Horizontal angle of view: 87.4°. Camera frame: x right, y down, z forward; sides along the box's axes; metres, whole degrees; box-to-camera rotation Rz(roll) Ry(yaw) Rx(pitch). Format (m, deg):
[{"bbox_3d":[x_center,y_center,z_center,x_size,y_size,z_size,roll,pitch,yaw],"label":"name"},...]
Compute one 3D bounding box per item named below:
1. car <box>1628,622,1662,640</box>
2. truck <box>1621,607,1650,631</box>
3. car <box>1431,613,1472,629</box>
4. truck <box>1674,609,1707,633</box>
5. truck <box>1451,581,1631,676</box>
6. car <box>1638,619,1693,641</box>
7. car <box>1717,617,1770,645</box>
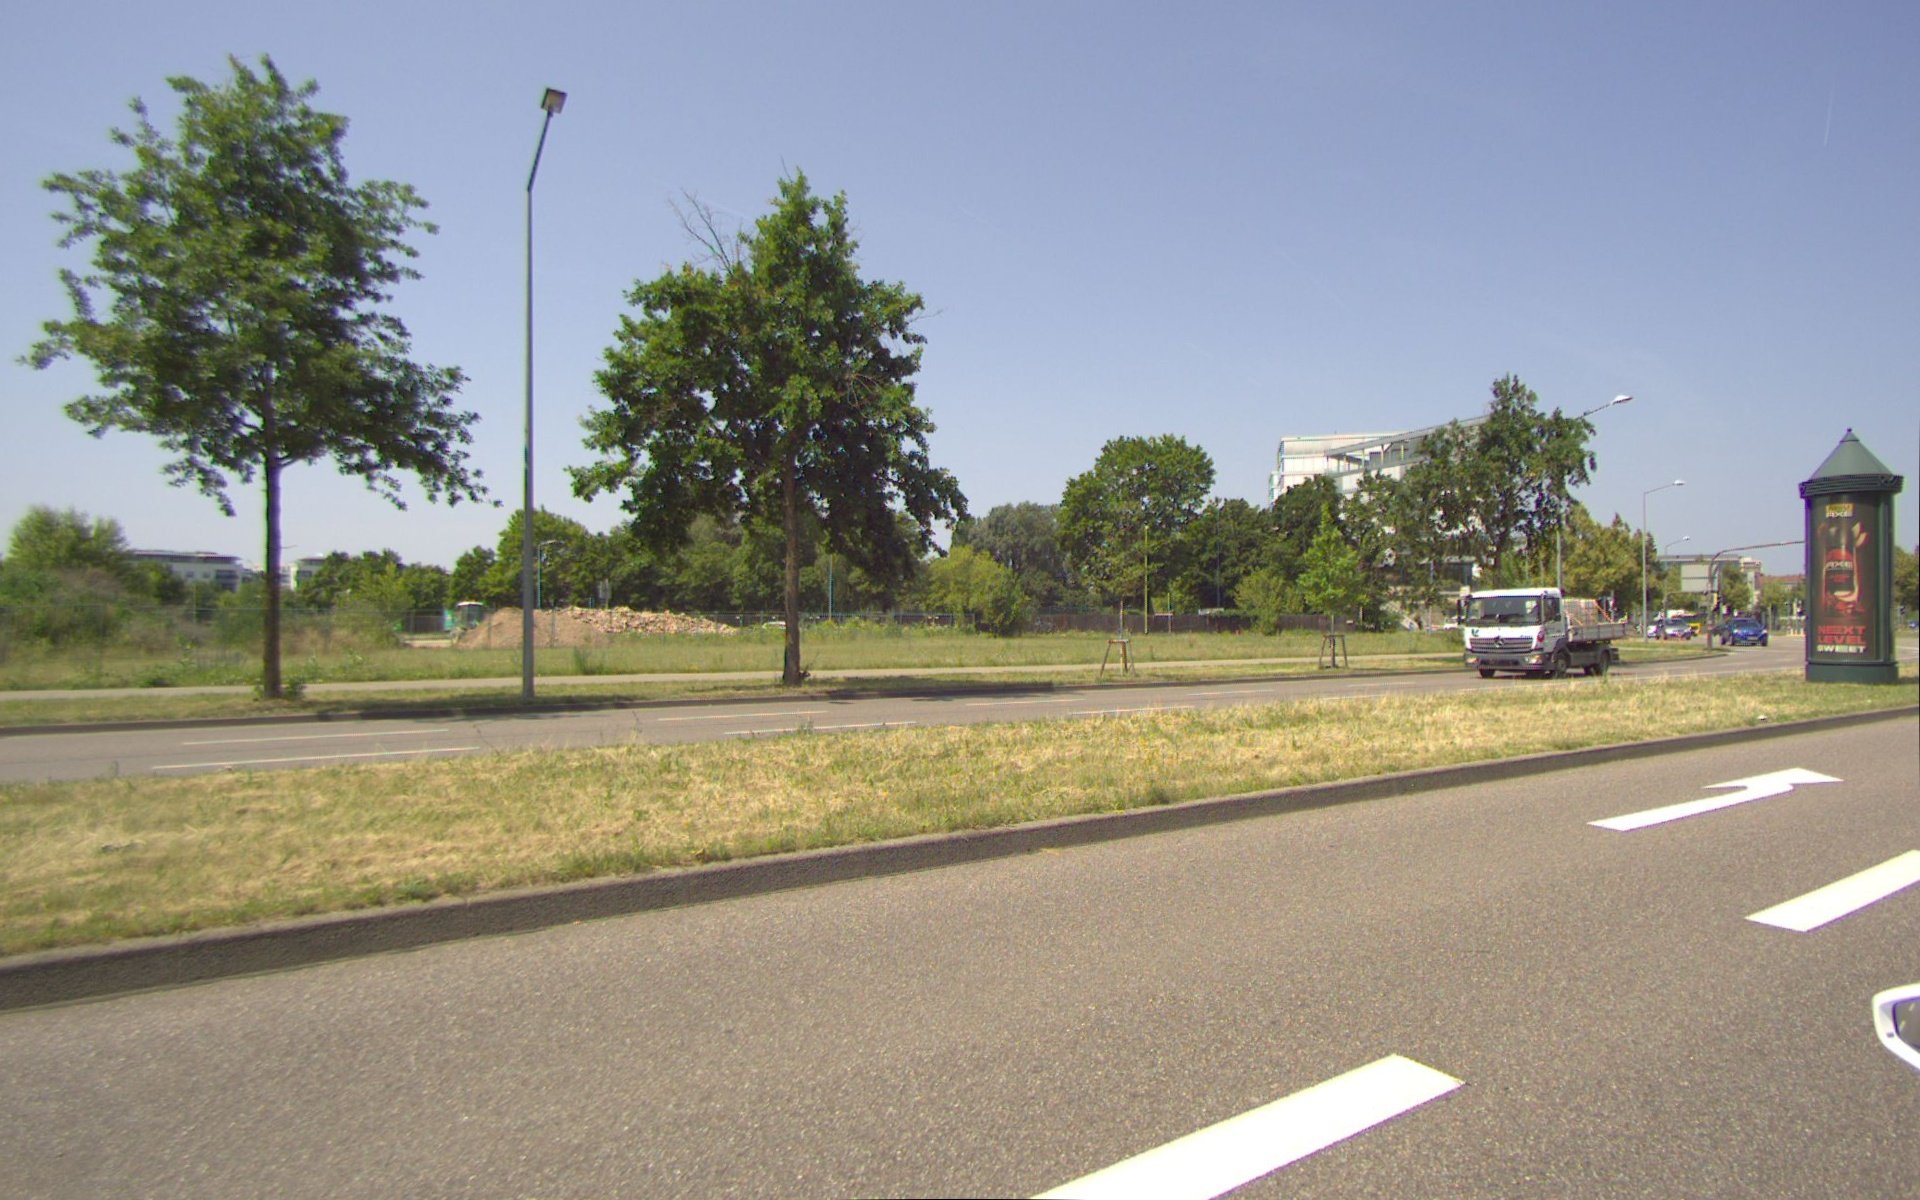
[{"bbox_3d":[58.006,2.631,85.088,1.713,1.443,3.838,0,-1,24],"label":"car"},{"bbox_3d":[79.420,2.265,118.172,1.962,2.775,5.031,0,-1,23],"label":"truck"},{"bbox_3d":[60.956,2.612,124.583,4.207,1.903,1.999,0,-1,-3],"label":"car"},{"bbox_3d":[83.315,2.393,114.663,2.320,2.629,6.401,0,-1,30],"label":"truck"},{"bbox_3d":[17.688,0.869,30.445,6.263,2.610,2.618,1,-3,-39],"label":"truck"},{"bbox_3d":[53.235,2.217,75.885,1.959,1.617,4.003,0,-1,13],"label":"car"},{"bbox_3d":[47.503,1.869,60.990,1.964,1.617,3.992,0,-1,30],"label":"car"}]
